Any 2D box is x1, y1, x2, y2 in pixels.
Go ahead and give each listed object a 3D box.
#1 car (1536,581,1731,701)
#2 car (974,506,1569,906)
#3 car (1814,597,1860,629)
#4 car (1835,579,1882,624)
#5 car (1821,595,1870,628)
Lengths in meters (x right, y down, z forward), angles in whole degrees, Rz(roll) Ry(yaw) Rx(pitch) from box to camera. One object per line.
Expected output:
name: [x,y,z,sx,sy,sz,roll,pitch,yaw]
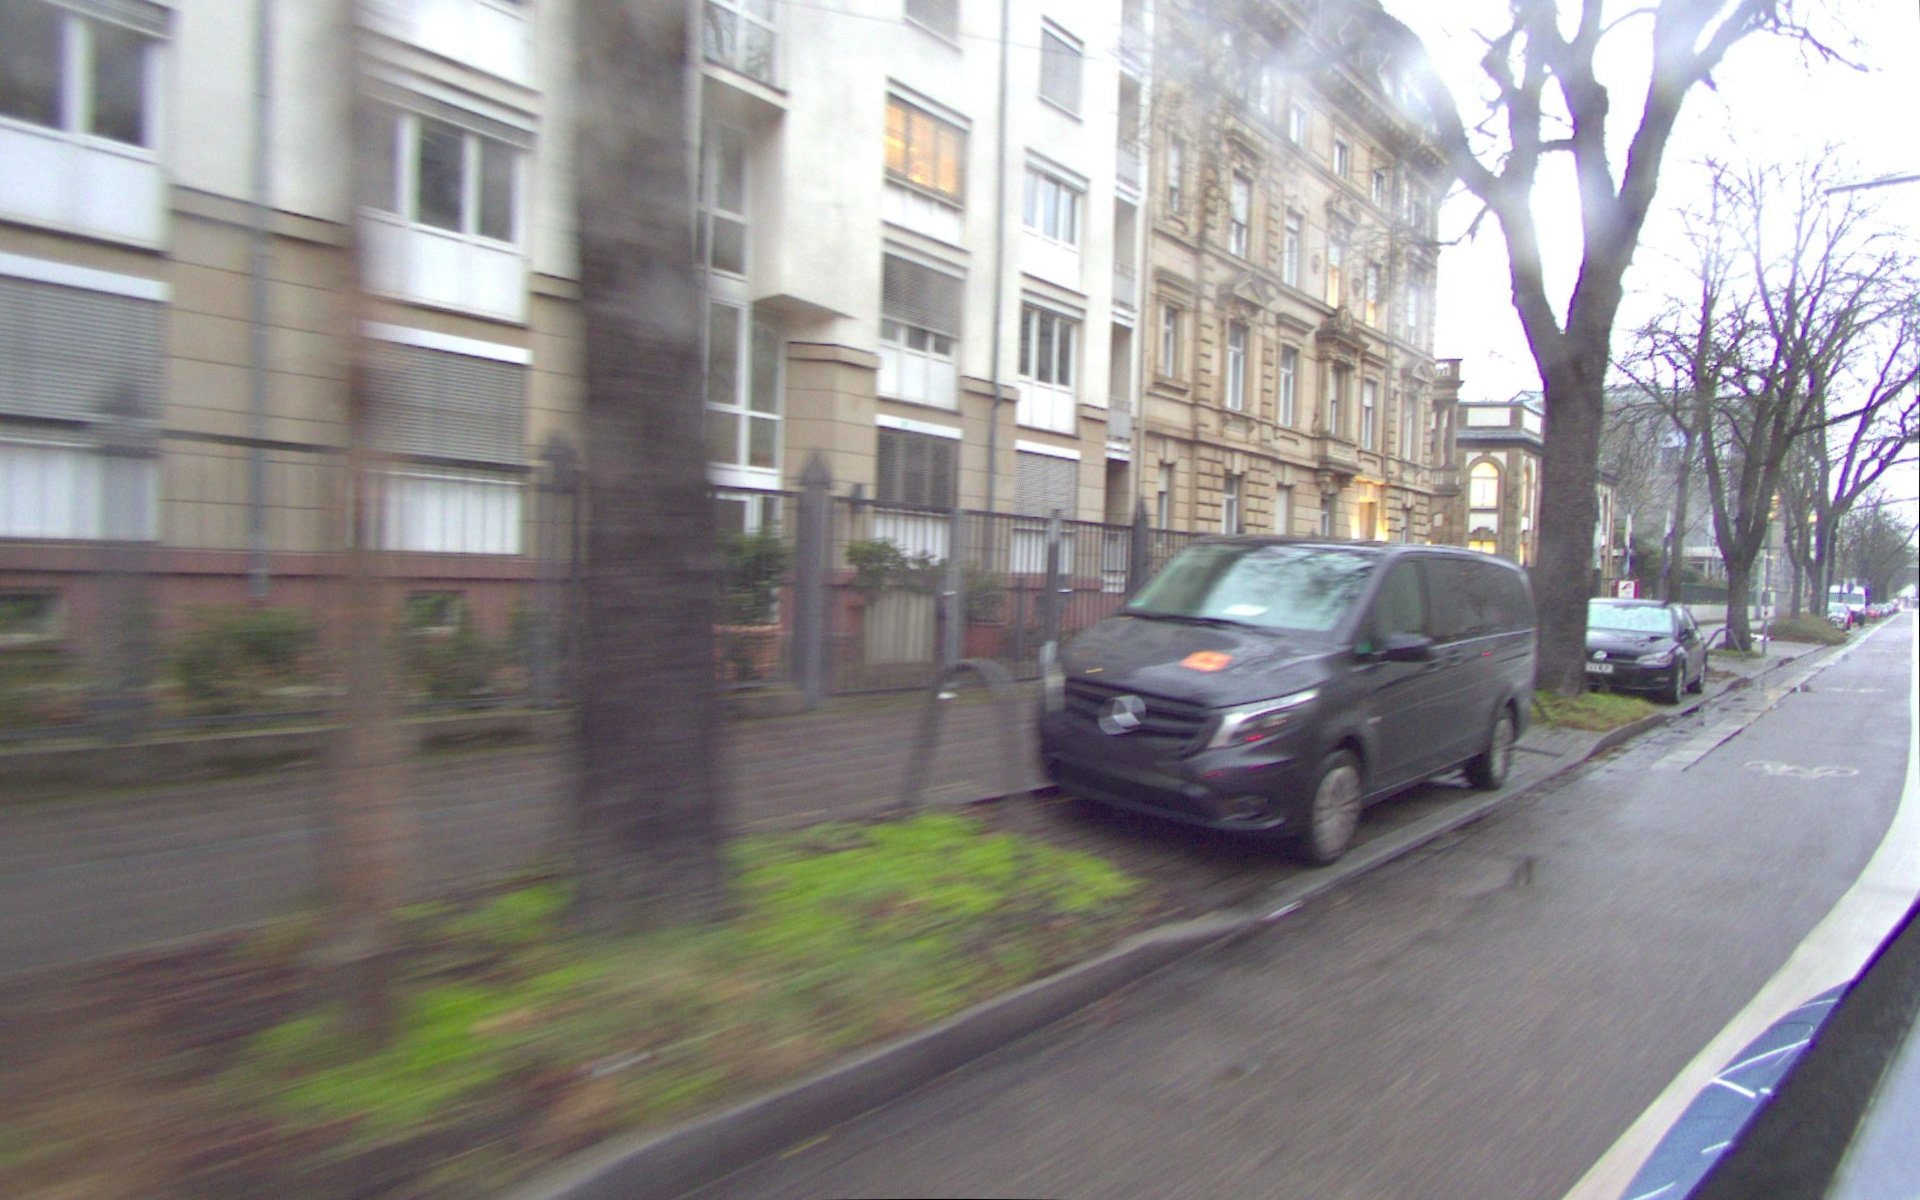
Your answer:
car: [10.326,0.546,15.389,1.758,1.463,4.093,6,3,43]
car: [2.535,0.454,7.261,2.032,1.898,4.884,4,3,44]
car: [43.055,0.600,49.694,1.622,1.425,3.941,2,2,41]
car: [56.673,0.061,63.879,2.086,2.670,5.369,2,2,41]
car: [49.810,0.591,56.993,1.992,1.702,3.941,2,2,41]
